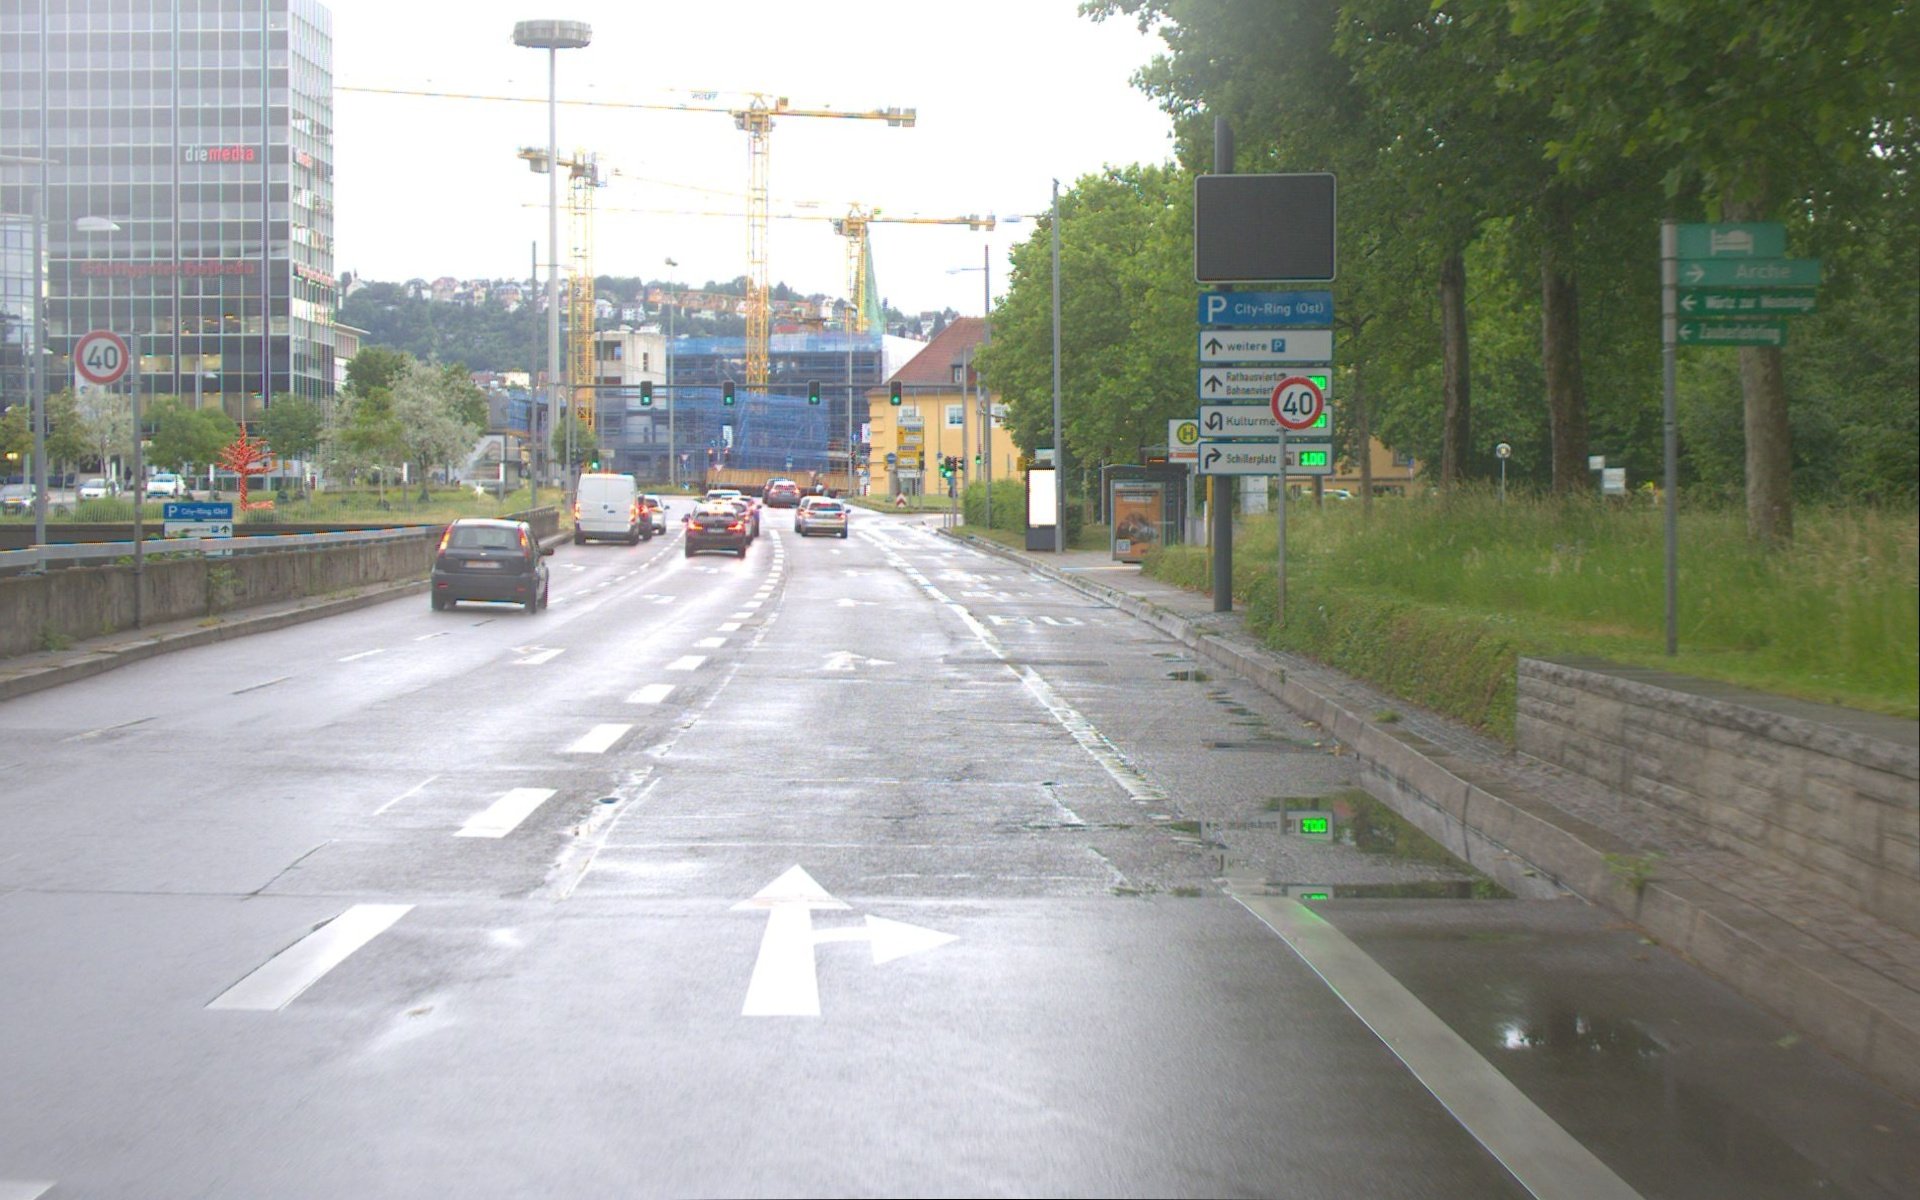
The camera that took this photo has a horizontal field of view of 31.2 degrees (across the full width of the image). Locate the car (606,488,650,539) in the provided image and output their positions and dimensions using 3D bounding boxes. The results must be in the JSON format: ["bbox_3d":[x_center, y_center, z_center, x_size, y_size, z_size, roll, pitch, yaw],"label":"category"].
[{"bbox_3d":[-11.590,-3.007,120.011,1.464,1.700,3.142,1,1,-5],"label":"car"}]

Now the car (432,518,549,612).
[{"bbox_3d":[-7.440,-0.574,54.745,1.542,1.410,3.902,1,1,-4],"label":"car"}]

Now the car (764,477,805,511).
[{"bbox_3d":[-10.126,-6.124,198.819,2.161,1.873,3.771,1,1,0],"label":"car"}]

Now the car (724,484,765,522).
[{"bbox_3d":[-8.123,-3.653,129.897,1.493,1.365,3.034,1,1,-3],"label":"car"}]

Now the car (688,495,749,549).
[{"bbox_3d":[-7.234,-2.353,102.994,1.753,1.466,4.223,1,3,-4],"label":"car"}]

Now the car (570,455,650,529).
[{"bbox_3d":[-11.518,-3.544,113.379,2.292,2.306,5.006,1,1,-3],"label":"car"}]

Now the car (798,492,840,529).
[{"bbox_3d":[-5.380,-3.422,131.328,1.444,1.354,2.412,1,1,0],"label":"car"}]

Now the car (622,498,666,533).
[{"bbox_3d":[-11.908,-3.191,129.548,1.551,1.256,2.581,1,1,-3],"label":"car"}]

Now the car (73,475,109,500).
[{"bbox_3d":[-46.856,-6.055,185.395,1.407,1.250,3.167,1,1,-6],"label":"car"}]

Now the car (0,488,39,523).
[{"bbox_3d":[-41.322,-4.131,150.324,1.464,1.435,2.963,1,1,-3],"label":"car"}]

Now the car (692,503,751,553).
[{"bbox_3d":[-8.227,-2.468,118.324,1.880,1.647,3.459,1,1,-6],"label":"car"}]

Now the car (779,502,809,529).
[{"bbox_3d":[-6.649,-3.381,137.566,1.076,0.987,1.972,1,0,0],"label":"car"}]
